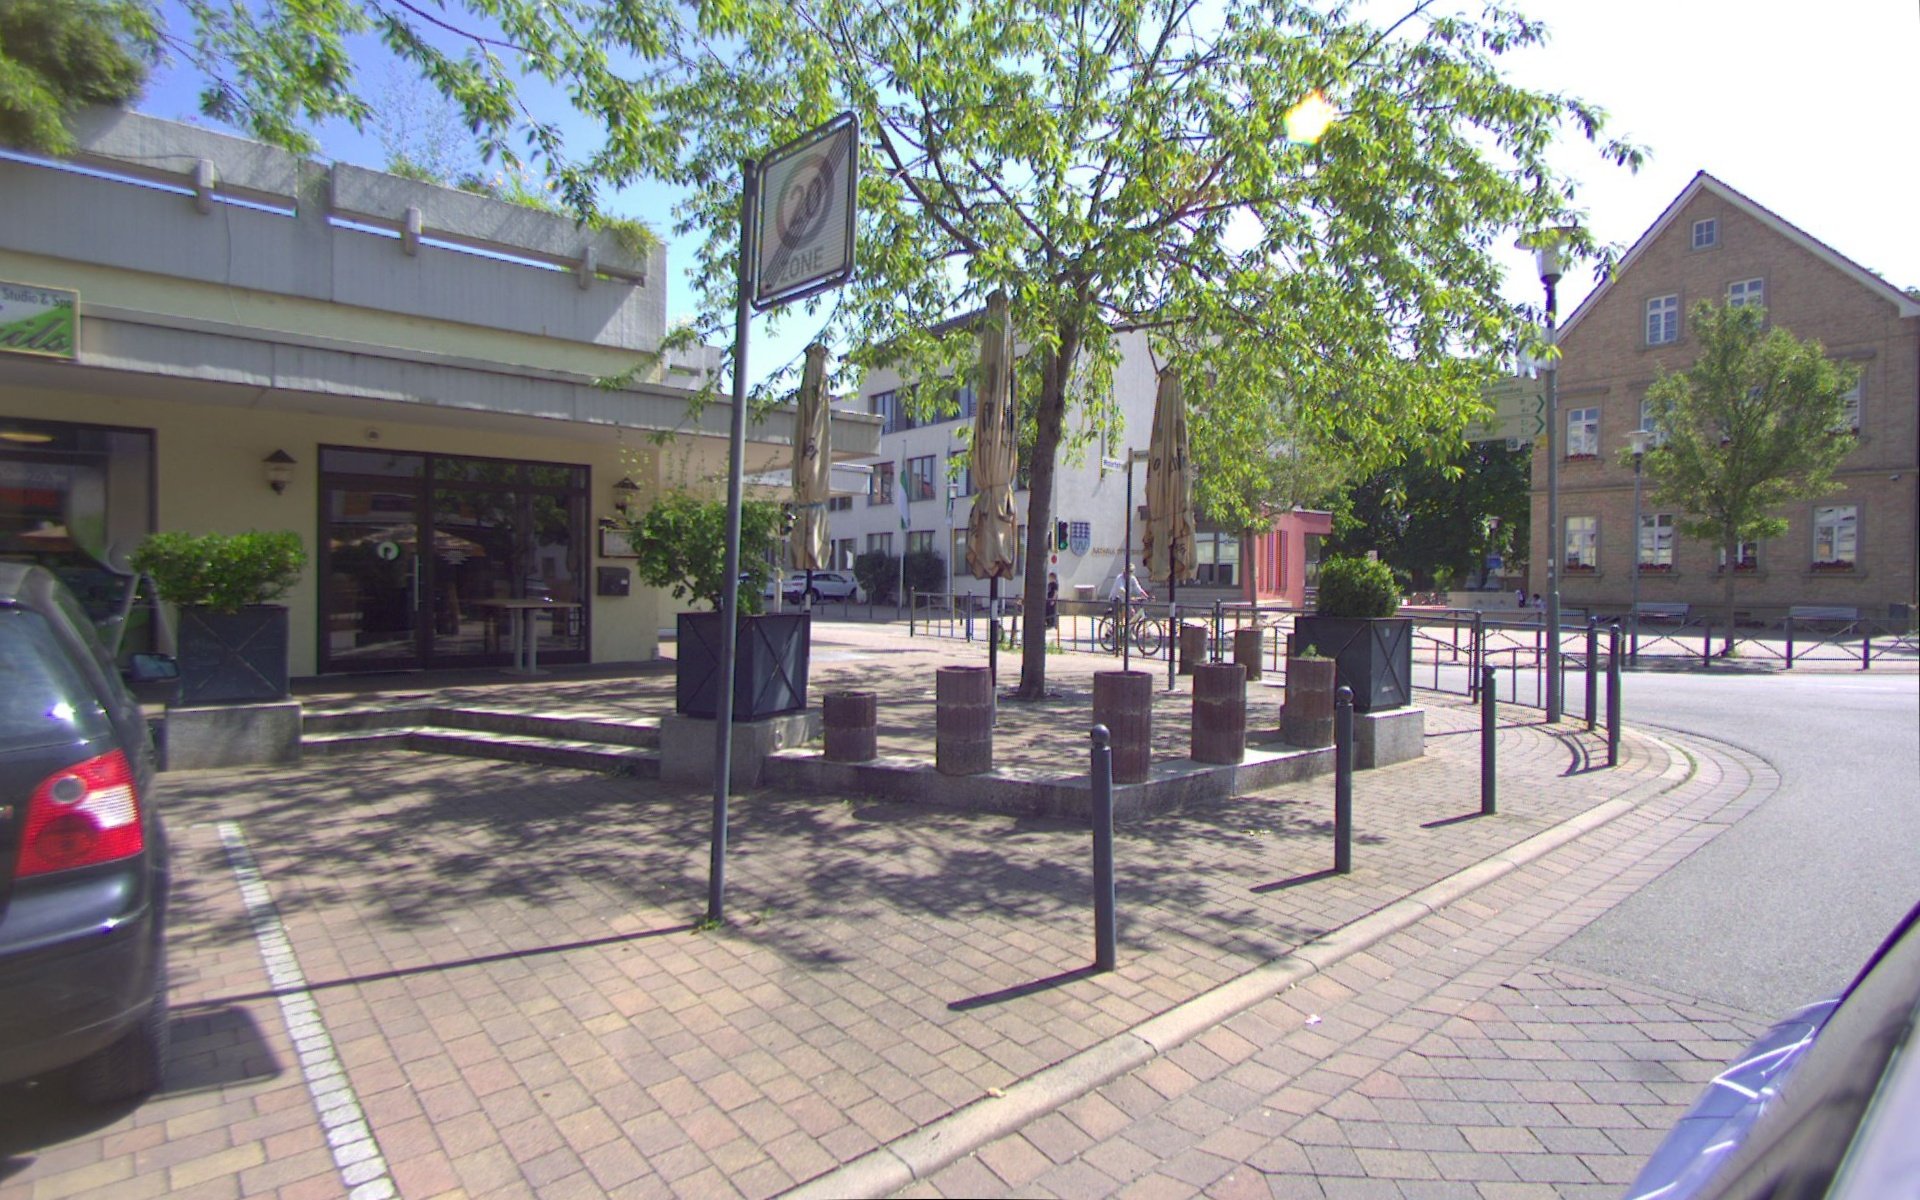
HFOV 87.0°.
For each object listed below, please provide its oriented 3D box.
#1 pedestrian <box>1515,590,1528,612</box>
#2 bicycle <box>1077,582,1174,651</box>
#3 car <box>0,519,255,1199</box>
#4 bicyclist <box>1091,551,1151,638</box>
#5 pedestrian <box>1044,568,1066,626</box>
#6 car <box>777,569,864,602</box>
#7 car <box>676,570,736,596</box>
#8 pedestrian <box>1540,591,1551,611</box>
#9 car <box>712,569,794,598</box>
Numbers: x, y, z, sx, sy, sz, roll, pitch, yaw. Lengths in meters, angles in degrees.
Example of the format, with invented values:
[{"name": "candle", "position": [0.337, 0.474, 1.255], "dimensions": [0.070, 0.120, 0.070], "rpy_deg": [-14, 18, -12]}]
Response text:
[{"name": "pedestrian", "position": [21.230, 0.023, 38.260], "dimensions": [0.365, 0.828, 0.357], "rpy_deg": [1, 0, 37]}, {"name": "bicycle", "position": [3.101, 0.285, 19.092], "dimensions": [0.678, 1.204, 1.797], "rpy_deg": [-2, 2, -40]}, {"name": "car", "position": [-3.677, 0.527, 3.381], "dimensions": [1.742, 1.528, 3.966], "rpy_deg": [-1, 2, -41]}, {"name": "bicyclist", "position": [3.039, -0.118, 19.133], "dimensions": [0.691, 1.601, 0.877], "rpy_deg": [-1, 2, -39]}, {"name": "pedestrian", "position": [2.767, -0.094, 29.484], "dimensions": [0.539, 1.638, 0.557], "rpy_deg": [1, 1, -2]}, {"name": "car", "position": [-6.855, -0.745, 49.886], "dimensions": [3.928, 1.566, 1.748], "rpy_deg": [-2, 2, -38]}, {"name": "car", "position": [-15.157, -1.038, 60.475], "dimensions": [3.083, 1.468, 1.642], "rpy_deg": [-2, 2, -36]}, {"name": "pedestrian", "position": [21.799, 0.023, 37.670], "dimensions": [0.288, 0.741, 0.353], "rpy_deg": [1, 0, 37]}, {"name": "car", "position": [-11.567, -0.952, 56.679], "dimensions": [4.247, 1.497, 1.513], "rpy_deg": [-2, 3, -36]}]
